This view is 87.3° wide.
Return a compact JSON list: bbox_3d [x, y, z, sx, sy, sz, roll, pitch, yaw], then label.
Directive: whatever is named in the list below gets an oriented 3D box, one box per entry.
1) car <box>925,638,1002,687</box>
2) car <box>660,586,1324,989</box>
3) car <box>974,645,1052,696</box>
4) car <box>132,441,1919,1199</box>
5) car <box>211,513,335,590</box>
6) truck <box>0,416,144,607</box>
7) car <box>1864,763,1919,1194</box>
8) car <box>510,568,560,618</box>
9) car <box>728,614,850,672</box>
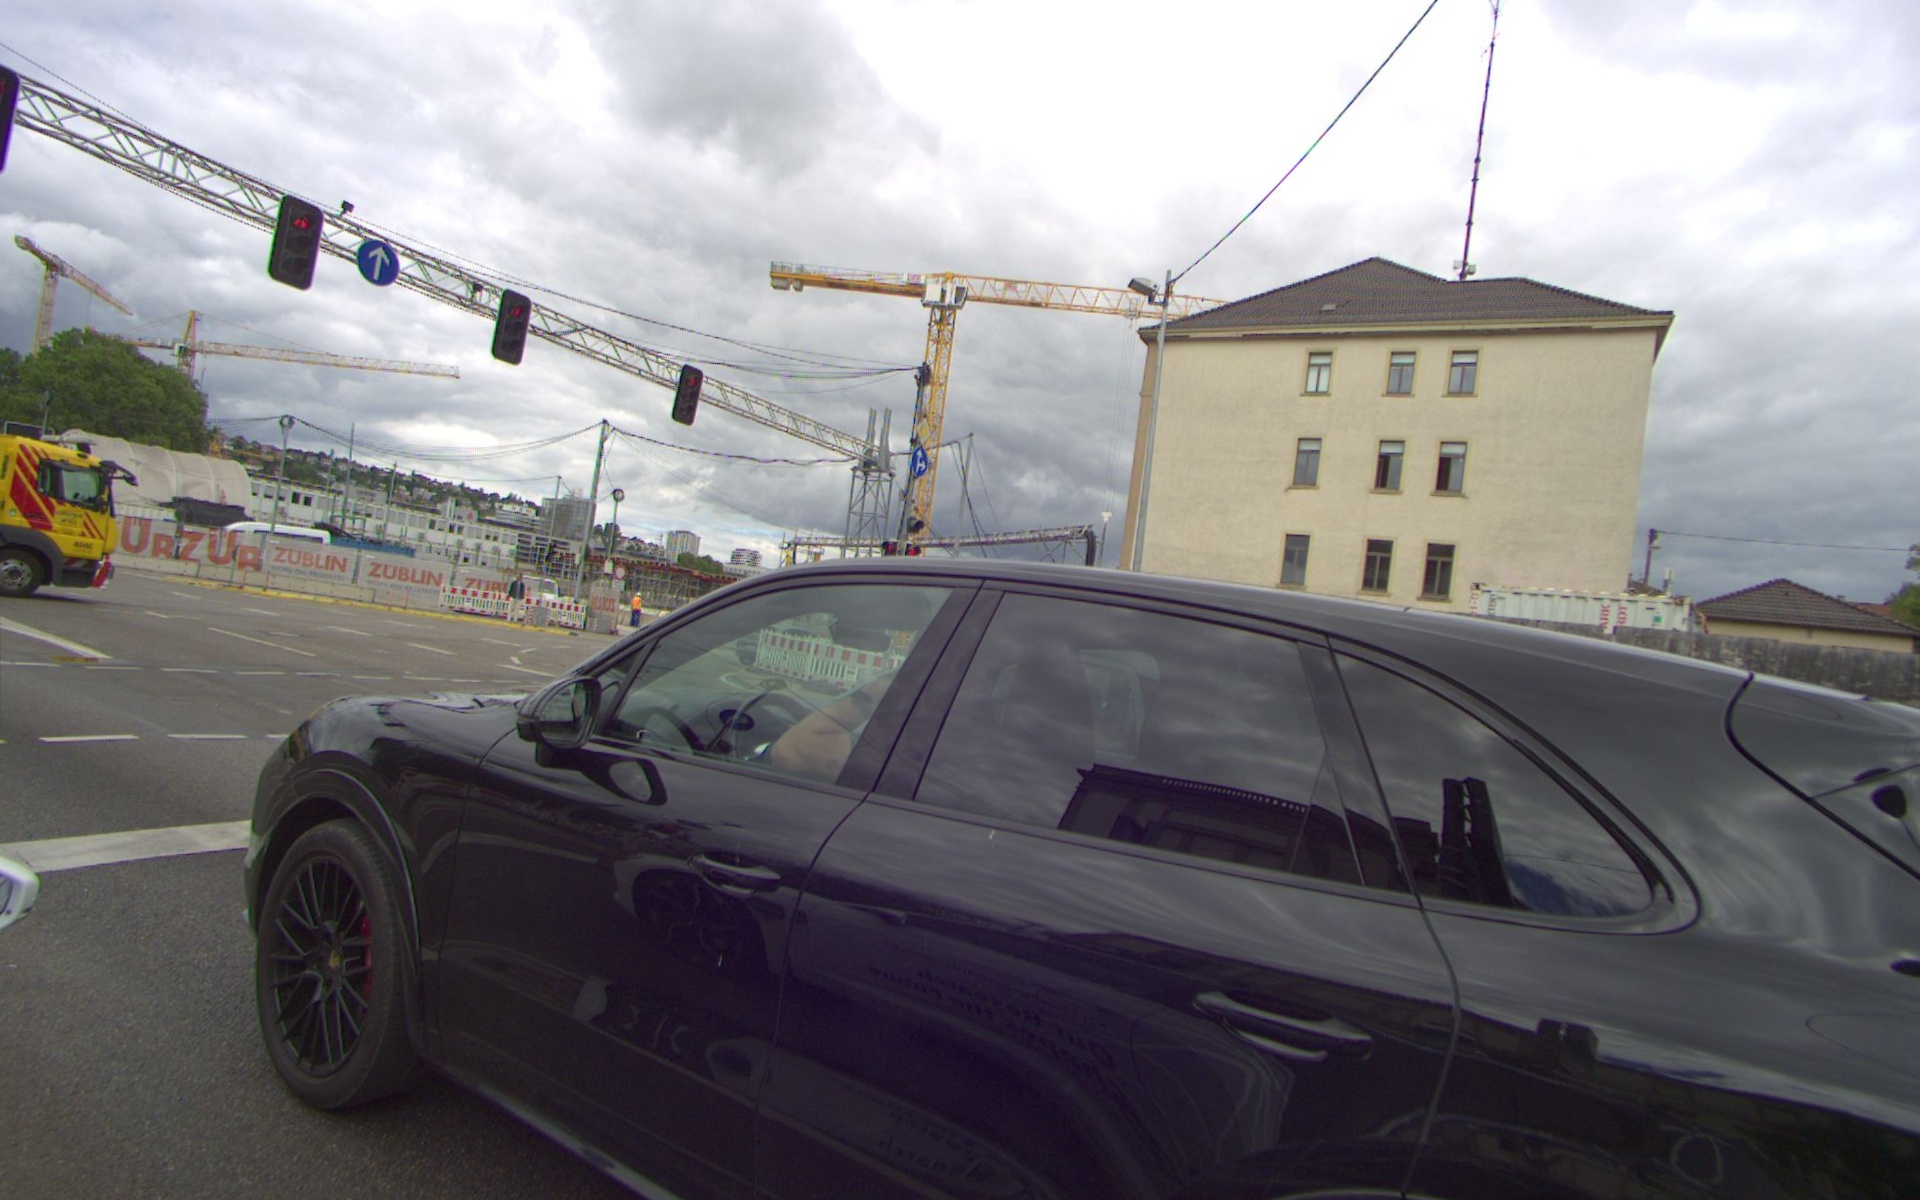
[{"bbox_3d":[0.209,3.083,48.985,1.655,1.971,3.993,6,-2,34],"label":"car"},{"bbox_3d":[0.111,0.984,6.666,3.934,1.644,1.679,6,-2,32],"label":"car"},{"bbox_3d":[2.510,3.301,46.785,1.655,1.971,3.993,6,-2,34],"label":"car"},{"bbox_3d":[-0.087,0.666,2.692,4.410,1.735,1.828,6,-2,32],"label":"car"},{"bbox_3d":[-29.572,-2.047,43.376,1.660,2.692,3.979,6,-2,45],"label":"car"},{"bbox_3d":[-17.603,-1.884,14.142,2.582,2.835,9.006,7,-2,29],"label":"truck"},{"bbox_3d":[5.761,1.687,2.572,4.729,1.644,1.828,6,-2,32],"label":"car"},{"bbox_3d":[-19.162,-0.328,45.303,1.757,1.976,3.108,8,-2,-25],"label":"car"},{"bbox_3d":[-5.716,1.498,34.117,1.655,1.512,3.993,6,-2,34],"label":"car"}]
